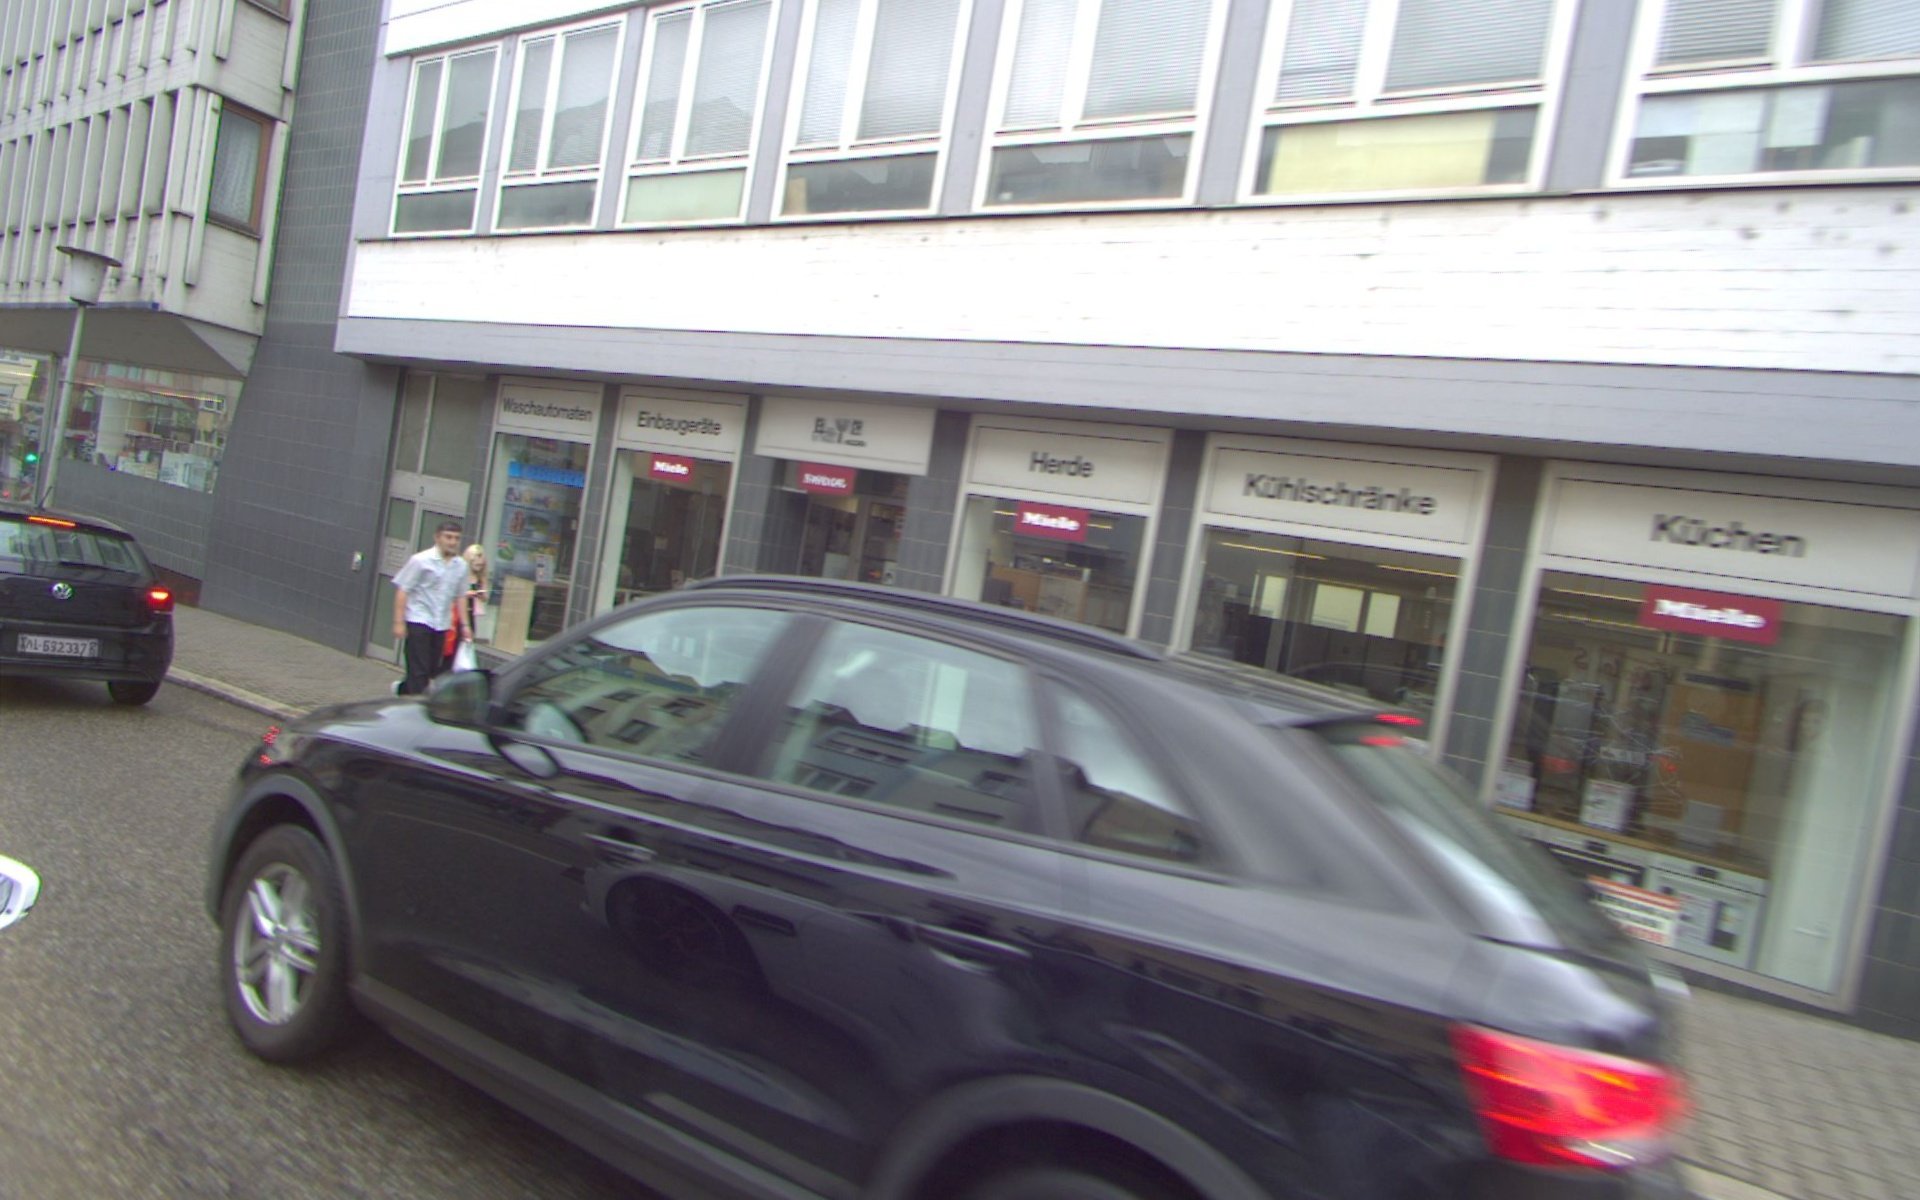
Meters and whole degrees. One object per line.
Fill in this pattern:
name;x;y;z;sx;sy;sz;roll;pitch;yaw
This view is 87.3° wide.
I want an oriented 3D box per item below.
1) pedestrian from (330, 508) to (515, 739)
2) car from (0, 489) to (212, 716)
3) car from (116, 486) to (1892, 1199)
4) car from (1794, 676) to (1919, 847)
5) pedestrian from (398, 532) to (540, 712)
pedestrian;-4.475;0.173;8.382;1.101;1.728;0.784;7;3;28
car;-8.023;-0.170;8.059;3.932;1.493;1.694;7;-3;30
car;-0.376;0.735;2.956;4.131;1.577;1.828;7;-3;31
car;11.002;1.826;9.937;3.884;1.542;1.789;7;2;32
pedestrian;-4.697;0.198;9.642;0.875;1.572;0.766;7;3;28
